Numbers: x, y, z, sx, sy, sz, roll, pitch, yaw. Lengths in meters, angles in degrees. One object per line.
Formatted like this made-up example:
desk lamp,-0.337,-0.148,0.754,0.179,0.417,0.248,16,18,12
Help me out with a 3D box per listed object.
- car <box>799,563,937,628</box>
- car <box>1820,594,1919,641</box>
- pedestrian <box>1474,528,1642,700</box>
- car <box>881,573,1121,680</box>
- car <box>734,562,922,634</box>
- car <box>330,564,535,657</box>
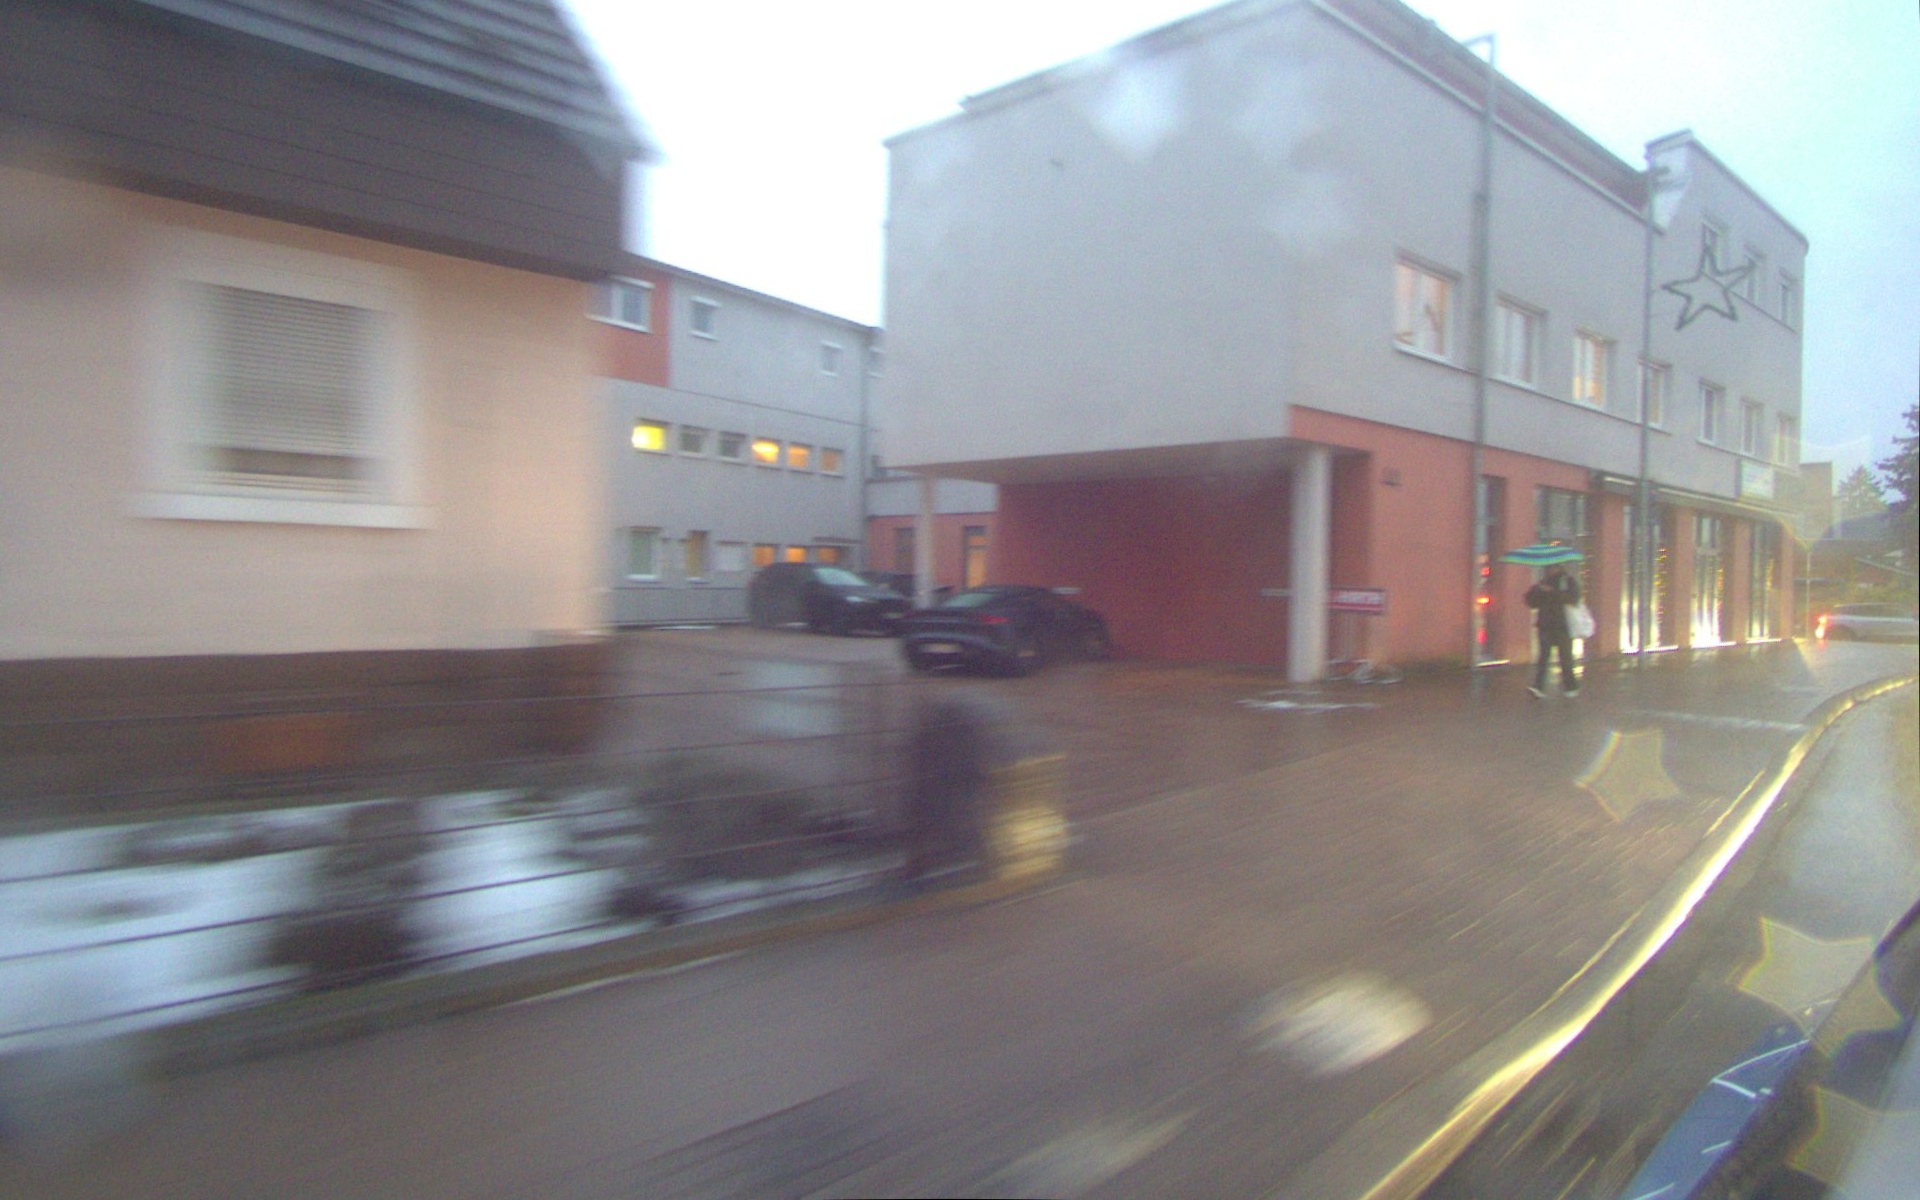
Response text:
car,-2.561,-0.164,27.651,3.741,1.588,1.688,3,2,43
car,29.996,0.560,31.873,1.766,1.460,4.177,2,-3,-40
pedestrian,7.072,0.120,11.987,1.279,1.888,1.258,0,3,-37
car,0.768,0.279,15.231,1.866,1.274,4.126,2,3,31
car,-3.218,-0.101,24.023,4.708,1.483,1.844,3,2,43
car,-9.000,0.113,17.154,3.985,1.394,1.814,2,1,42
